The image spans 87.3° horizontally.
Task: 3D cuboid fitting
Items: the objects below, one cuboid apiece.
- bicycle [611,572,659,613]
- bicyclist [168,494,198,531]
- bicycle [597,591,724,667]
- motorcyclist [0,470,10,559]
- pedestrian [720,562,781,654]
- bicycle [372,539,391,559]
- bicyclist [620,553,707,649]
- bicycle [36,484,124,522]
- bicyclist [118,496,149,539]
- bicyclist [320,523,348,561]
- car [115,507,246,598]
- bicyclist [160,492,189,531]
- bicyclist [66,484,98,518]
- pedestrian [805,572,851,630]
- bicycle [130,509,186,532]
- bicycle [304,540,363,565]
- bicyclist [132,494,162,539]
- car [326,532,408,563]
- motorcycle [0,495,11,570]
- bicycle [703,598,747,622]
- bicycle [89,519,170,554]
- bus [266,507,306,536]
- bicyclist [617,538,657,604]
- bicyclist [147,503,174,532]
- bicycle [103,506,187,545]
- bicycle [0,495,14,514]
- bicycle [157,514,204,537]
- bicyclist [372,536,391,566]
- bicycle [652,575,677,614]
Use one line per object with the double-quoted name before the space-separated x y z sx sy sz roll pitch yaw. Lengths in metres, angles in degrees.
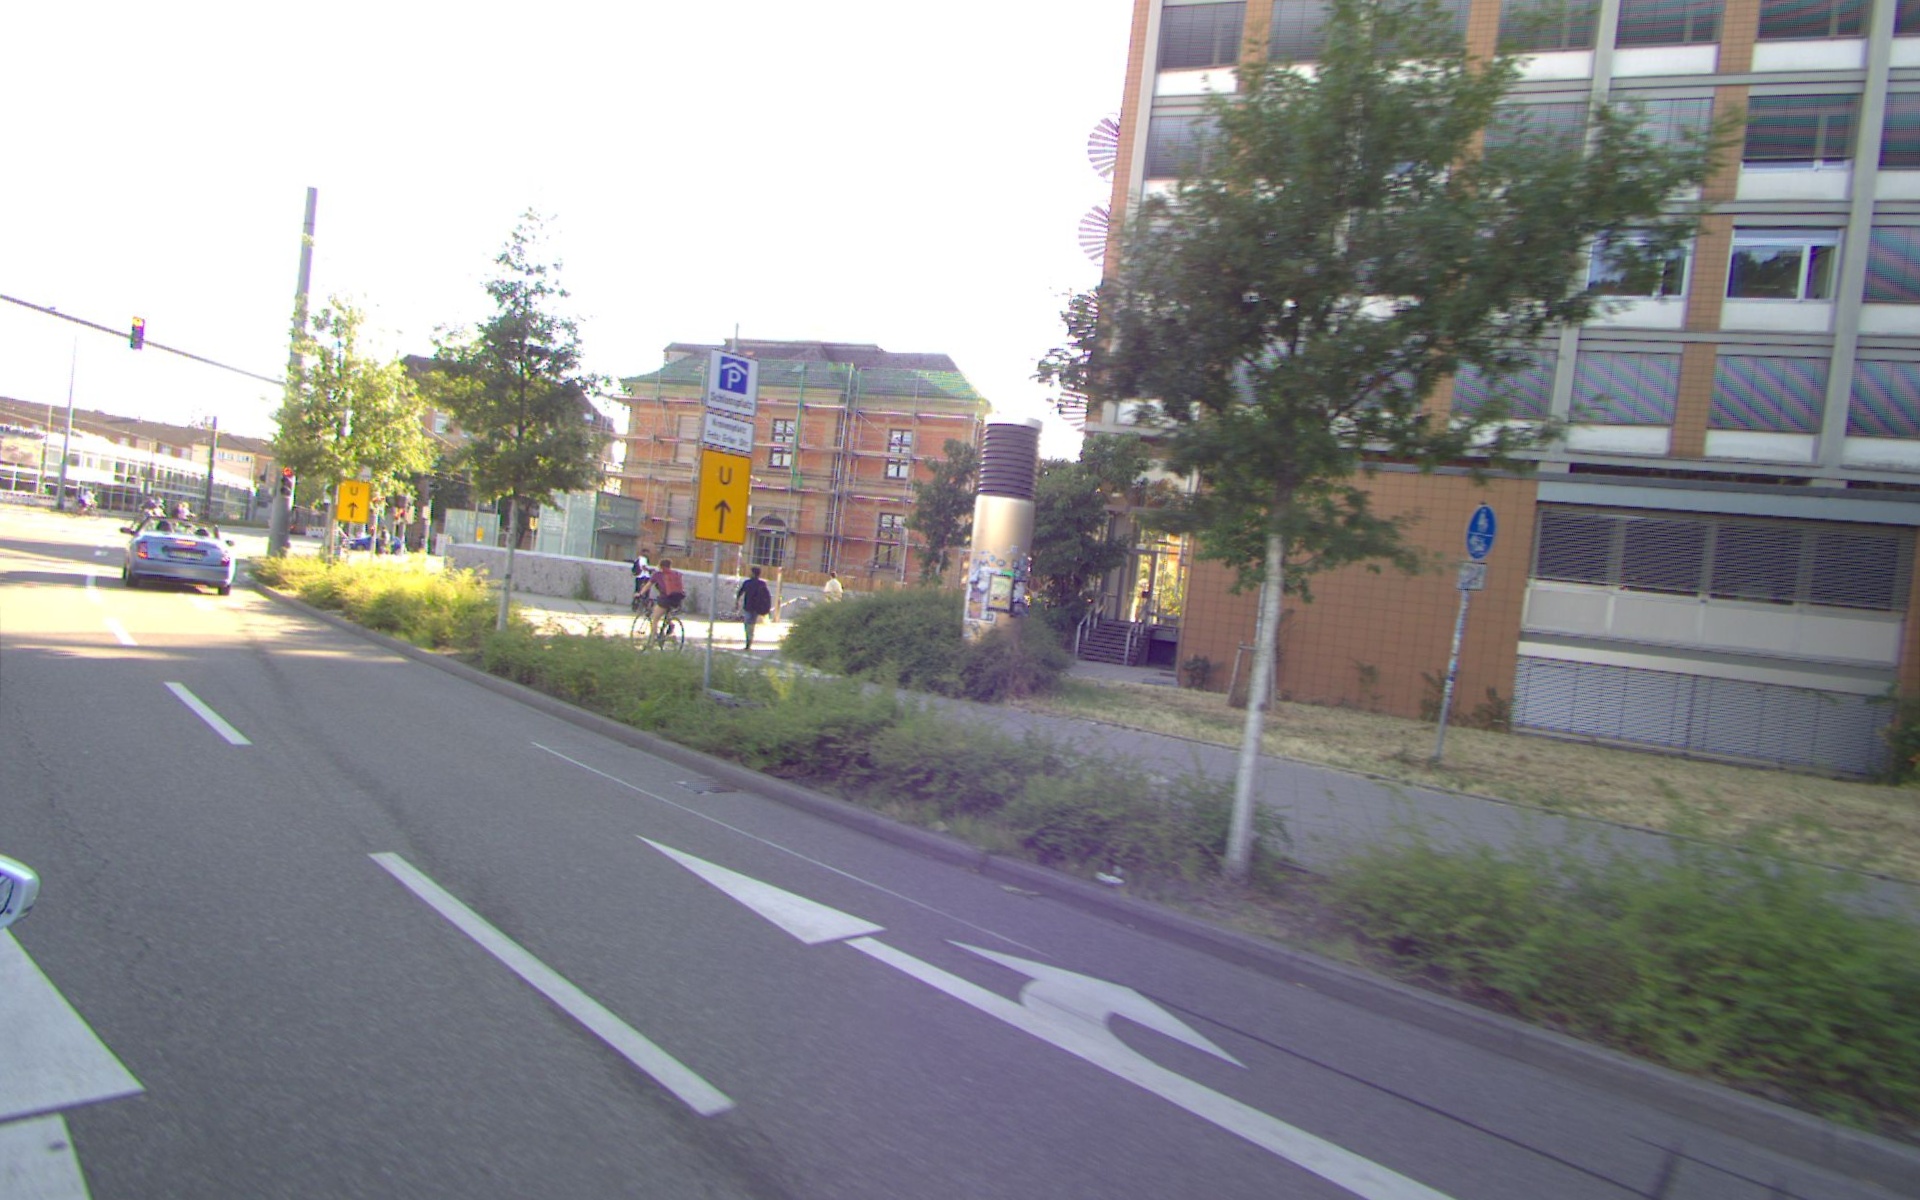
"bicycle" -9.396 -0.230 29.042 0.783 1.052 1.946 4 1 -33
"bicyclist" -39.421 -4.410 51.045 0.846 1.712 0.650 8 2 -10
"bicycle" -4.817 0.448 16.115 2.216 0.963 0.719 5 -2 38
"motorcyclist" -17.861 -1.537 17.974 1.092 1.742 0.926 7 0 -40
"pedestrian" -4.131 0.153 19.793 0.799 1.678 0.785 9 -1 -25
"bicycle" -32.634 -2.881 56.780 0.783 1.052 1.946 4 1 -33
"bicyclist" -4.748 0.012 16.101 1.060 1.401 0.719 6 -1 38
"bicycle" -56.651 -6.211 64.818 1.120 1.711 3.993 9 1 30
"bicyclist" -36.140 -3.618 44.004 0.846 1.712 0.650 9 2 31
"bicyclist" -30.410 -2.804 48.874 0.844 1.712 0.651 9 2 23
"car" -15.995 -1.005 20.813 1.791 1.461 3.940 8 -1 -35
"bicyclist" -39.321 -4.444 50.367 0.852 1.800 0.583 6 1 -11
"bicyclist" -56.596 -6.370 64.844 1.104 1.924 1.071 9 2 30
"pedestrian" -4.308 0.032 32.939 0.921 1.745 0.985 7 1 29
"bicycle" -48.585 -4.808 60.946 0.947 1.016 2.440 7 0 33
"bicycle" -30.470 -2.295 48.962 0.844 0.917 2.302 9 1 22
"bicyclist" -33.507 -3.439 41.480 0.847 1.712 0.649 9 2 38
"car" -42.192 -3.731 71.636 1.927 1.614 4.594 7 0 42
"motorcycle" -17.931 -1.272 18.018 1.091 1.394 2.623 7 -1 -40
"bicycle" -6.899 0.285 29.533 1.336 0.547 0.428 7 2 35
"bicycle" -36.278 -2.778 43.979 0.845 1.147 2.497 9 1 30
"bus" -78.297 -9.050 117.000 2.332 2.919 9.517 6 0 -26
"bicyclist" -9.322 -0.844 28.979 0.781 1.810 0.886 4 2 -33
"bicyclist" -48.511 -5.011 61.032 0.947 1.579 0.924 7 1 33
"bicycle" -33.570 -3.056 41.474 0.847 1.147 2.492 9 1 37
"bicycle" -56.814 -5.692 58.615 0.844 0.971 2.302 9 1 23
"bicycle" -39.515 -3.770 51.029 0.846 0.917 2.298 8 1 -10
"bicyclist" -32.639 -2.754 56.783 0.783 1.614 0.939 4 2 -33
"bicycle" -8.728 -0.187 29.780 0.618 1.052 1.956 4 1 -16
